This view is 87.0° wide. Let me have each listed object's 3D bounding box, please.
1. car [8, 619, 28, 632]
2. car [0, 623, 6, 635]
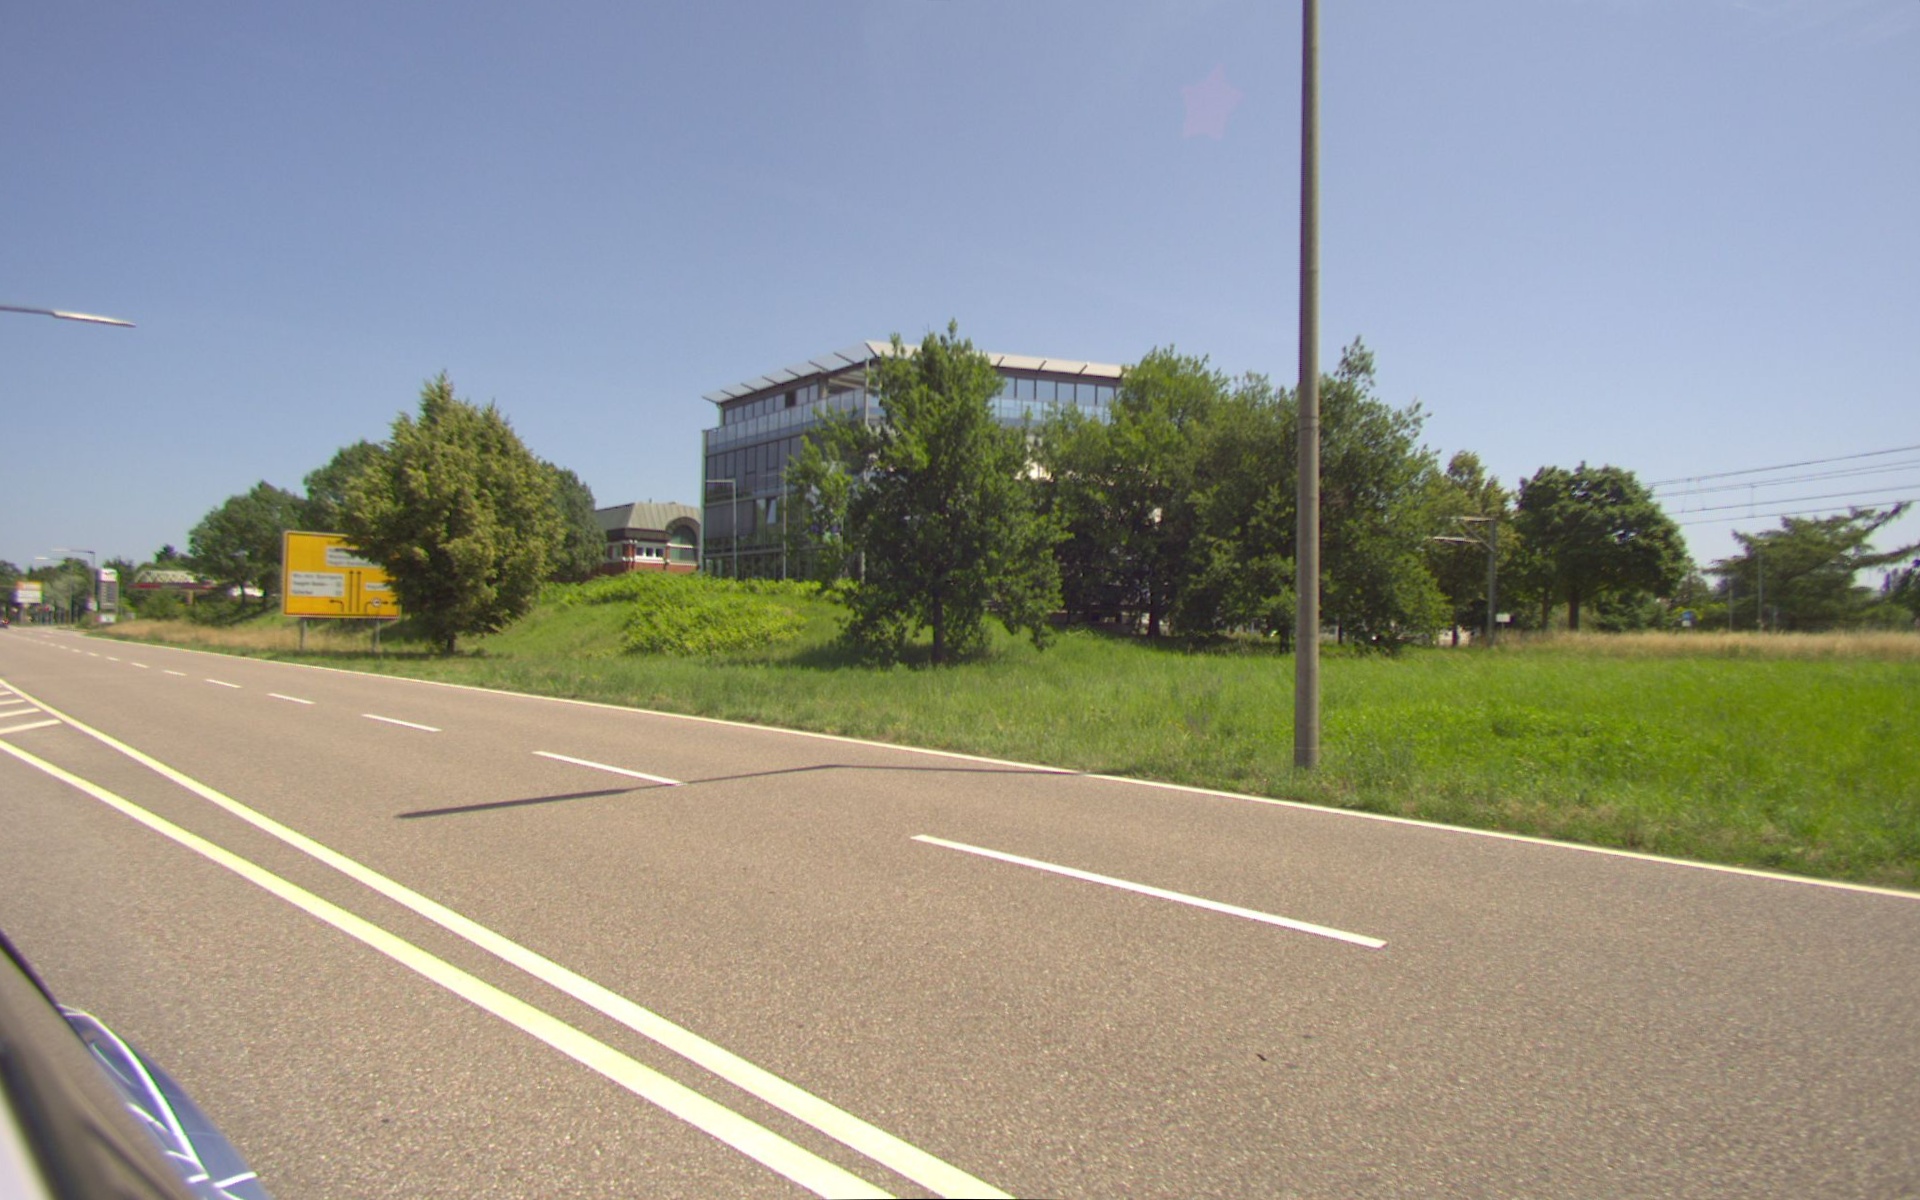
[{"bbox_3d":[-131.934,3.573,141.748,3.818,1.598,1.631,0,-2,41],"label":"car"},{"bbox_3d":[-119.226,3.563,125.216,1.599,1.364,3.517,3,-2,-45],"label":"car"}]
